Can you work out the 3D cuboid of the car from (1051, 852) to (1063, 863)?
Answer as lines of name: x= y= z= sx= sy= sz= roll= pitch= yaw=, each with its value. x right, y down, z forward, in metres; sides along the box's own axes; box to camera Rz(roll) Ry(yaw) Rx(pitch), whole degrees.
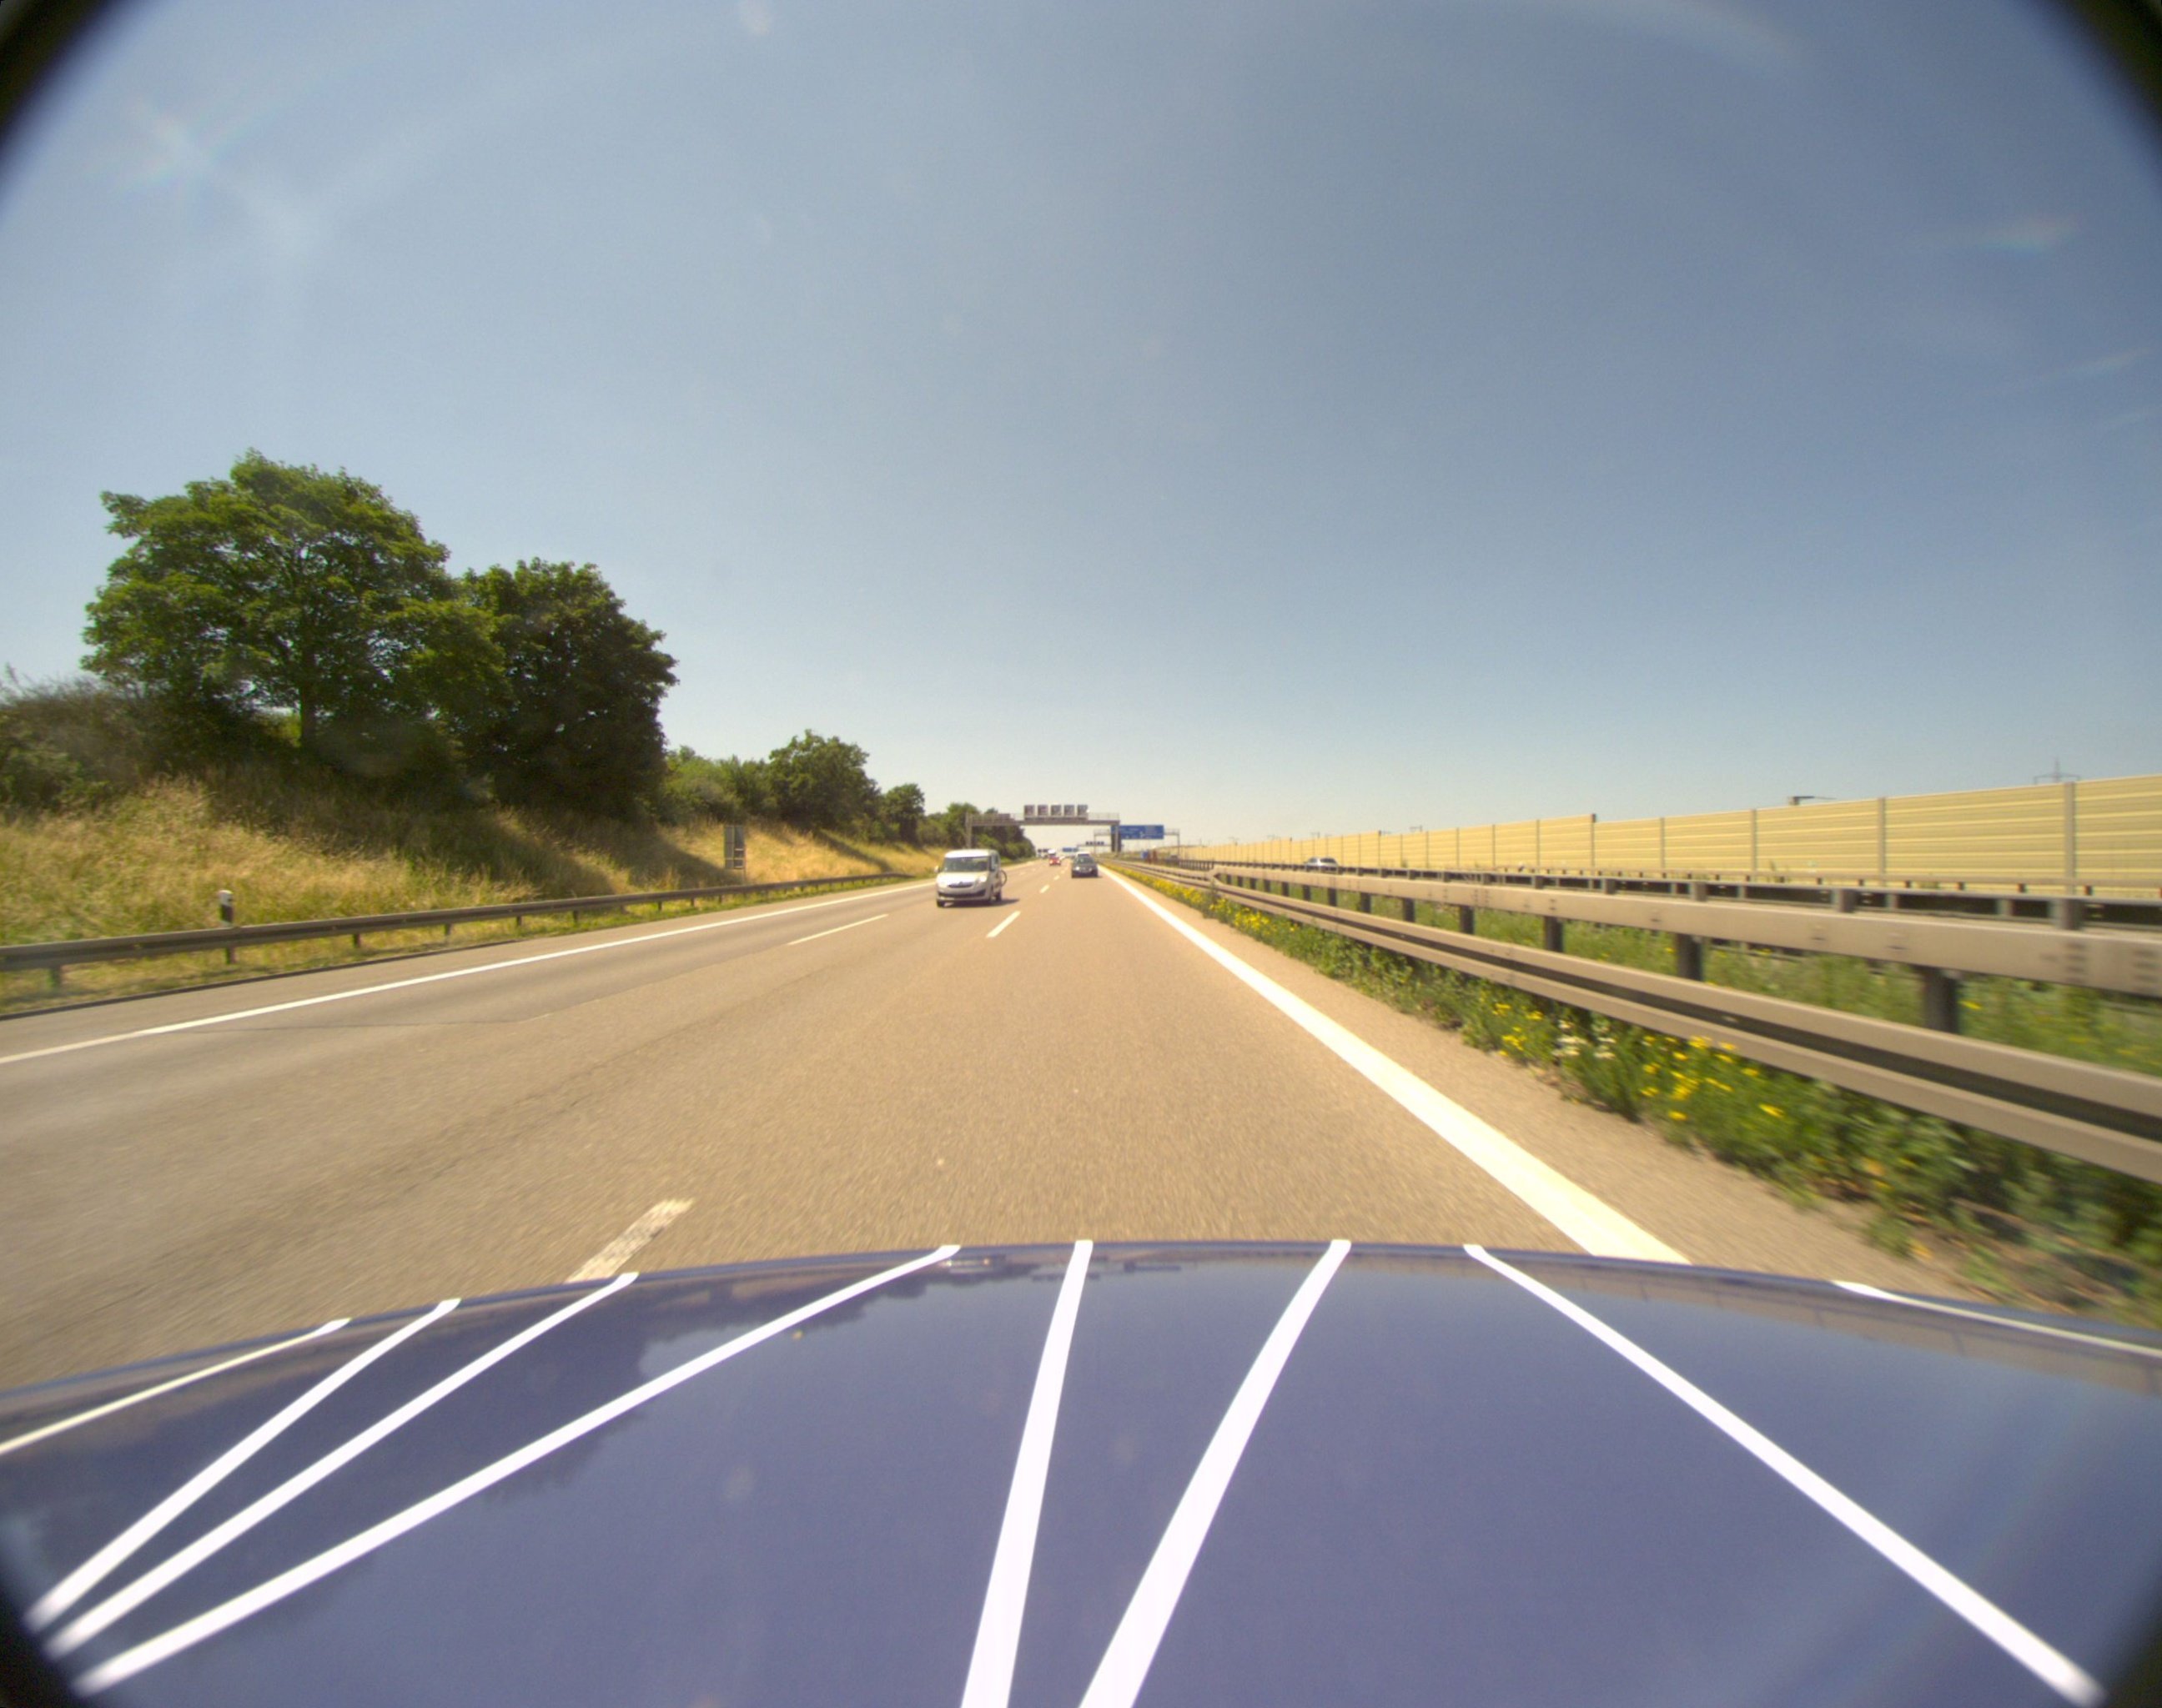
car: x=-3.657 y=0.505 z=117.353 sx=1.723 sy=1.514 sz=3.581 roll=-2 pitch=1 yaw=0

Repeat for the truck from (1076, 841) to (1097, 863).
truck: x=0.620 y=-0.267 z=91.022 sx=2.333 sy=2.378 sz=6.686 roll=-2 pitch=1 yaw=0

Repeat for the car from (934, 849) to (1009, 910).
car: x=-3.628 y=0.771 z=26.078 sx=1.812 sy=1.836 sz=5.311 roll=-2 pitch=0 yaw=0

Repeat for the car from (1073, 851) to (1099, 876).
car: x=0.305 y=0.619 z=52.256 sx=1.715 sy=1.586 sz=4.546 roll=0 pitch=0 yaw=0

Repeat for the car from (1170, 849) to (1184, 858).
car: x=17.079 y=-0.156 z=135.333 sx=1.901 sy=1.561 sz=5.246 roll=1 pitch=0 yaw=0

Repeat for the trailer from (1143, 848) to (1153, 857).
trailer: x=17.363 y=-0.453 z=196.952 sx=1.999 sy=2.225 sz=4.203 roll=-2 pitch=1 yaw=-1

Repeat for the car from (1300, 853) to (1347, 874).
car: x=18.030 y=0.688 z=56.809 sx=1.998 sy=1.455 sz=4.813 roll=-1 pitch=1 yaw=0

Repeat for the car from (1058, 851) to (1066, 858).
car: x=-4.513 y=0.158 z=179.166 sx=1.723 sy=1.514 sz=3.581 roll=-2 pitch=1 yaw=0
